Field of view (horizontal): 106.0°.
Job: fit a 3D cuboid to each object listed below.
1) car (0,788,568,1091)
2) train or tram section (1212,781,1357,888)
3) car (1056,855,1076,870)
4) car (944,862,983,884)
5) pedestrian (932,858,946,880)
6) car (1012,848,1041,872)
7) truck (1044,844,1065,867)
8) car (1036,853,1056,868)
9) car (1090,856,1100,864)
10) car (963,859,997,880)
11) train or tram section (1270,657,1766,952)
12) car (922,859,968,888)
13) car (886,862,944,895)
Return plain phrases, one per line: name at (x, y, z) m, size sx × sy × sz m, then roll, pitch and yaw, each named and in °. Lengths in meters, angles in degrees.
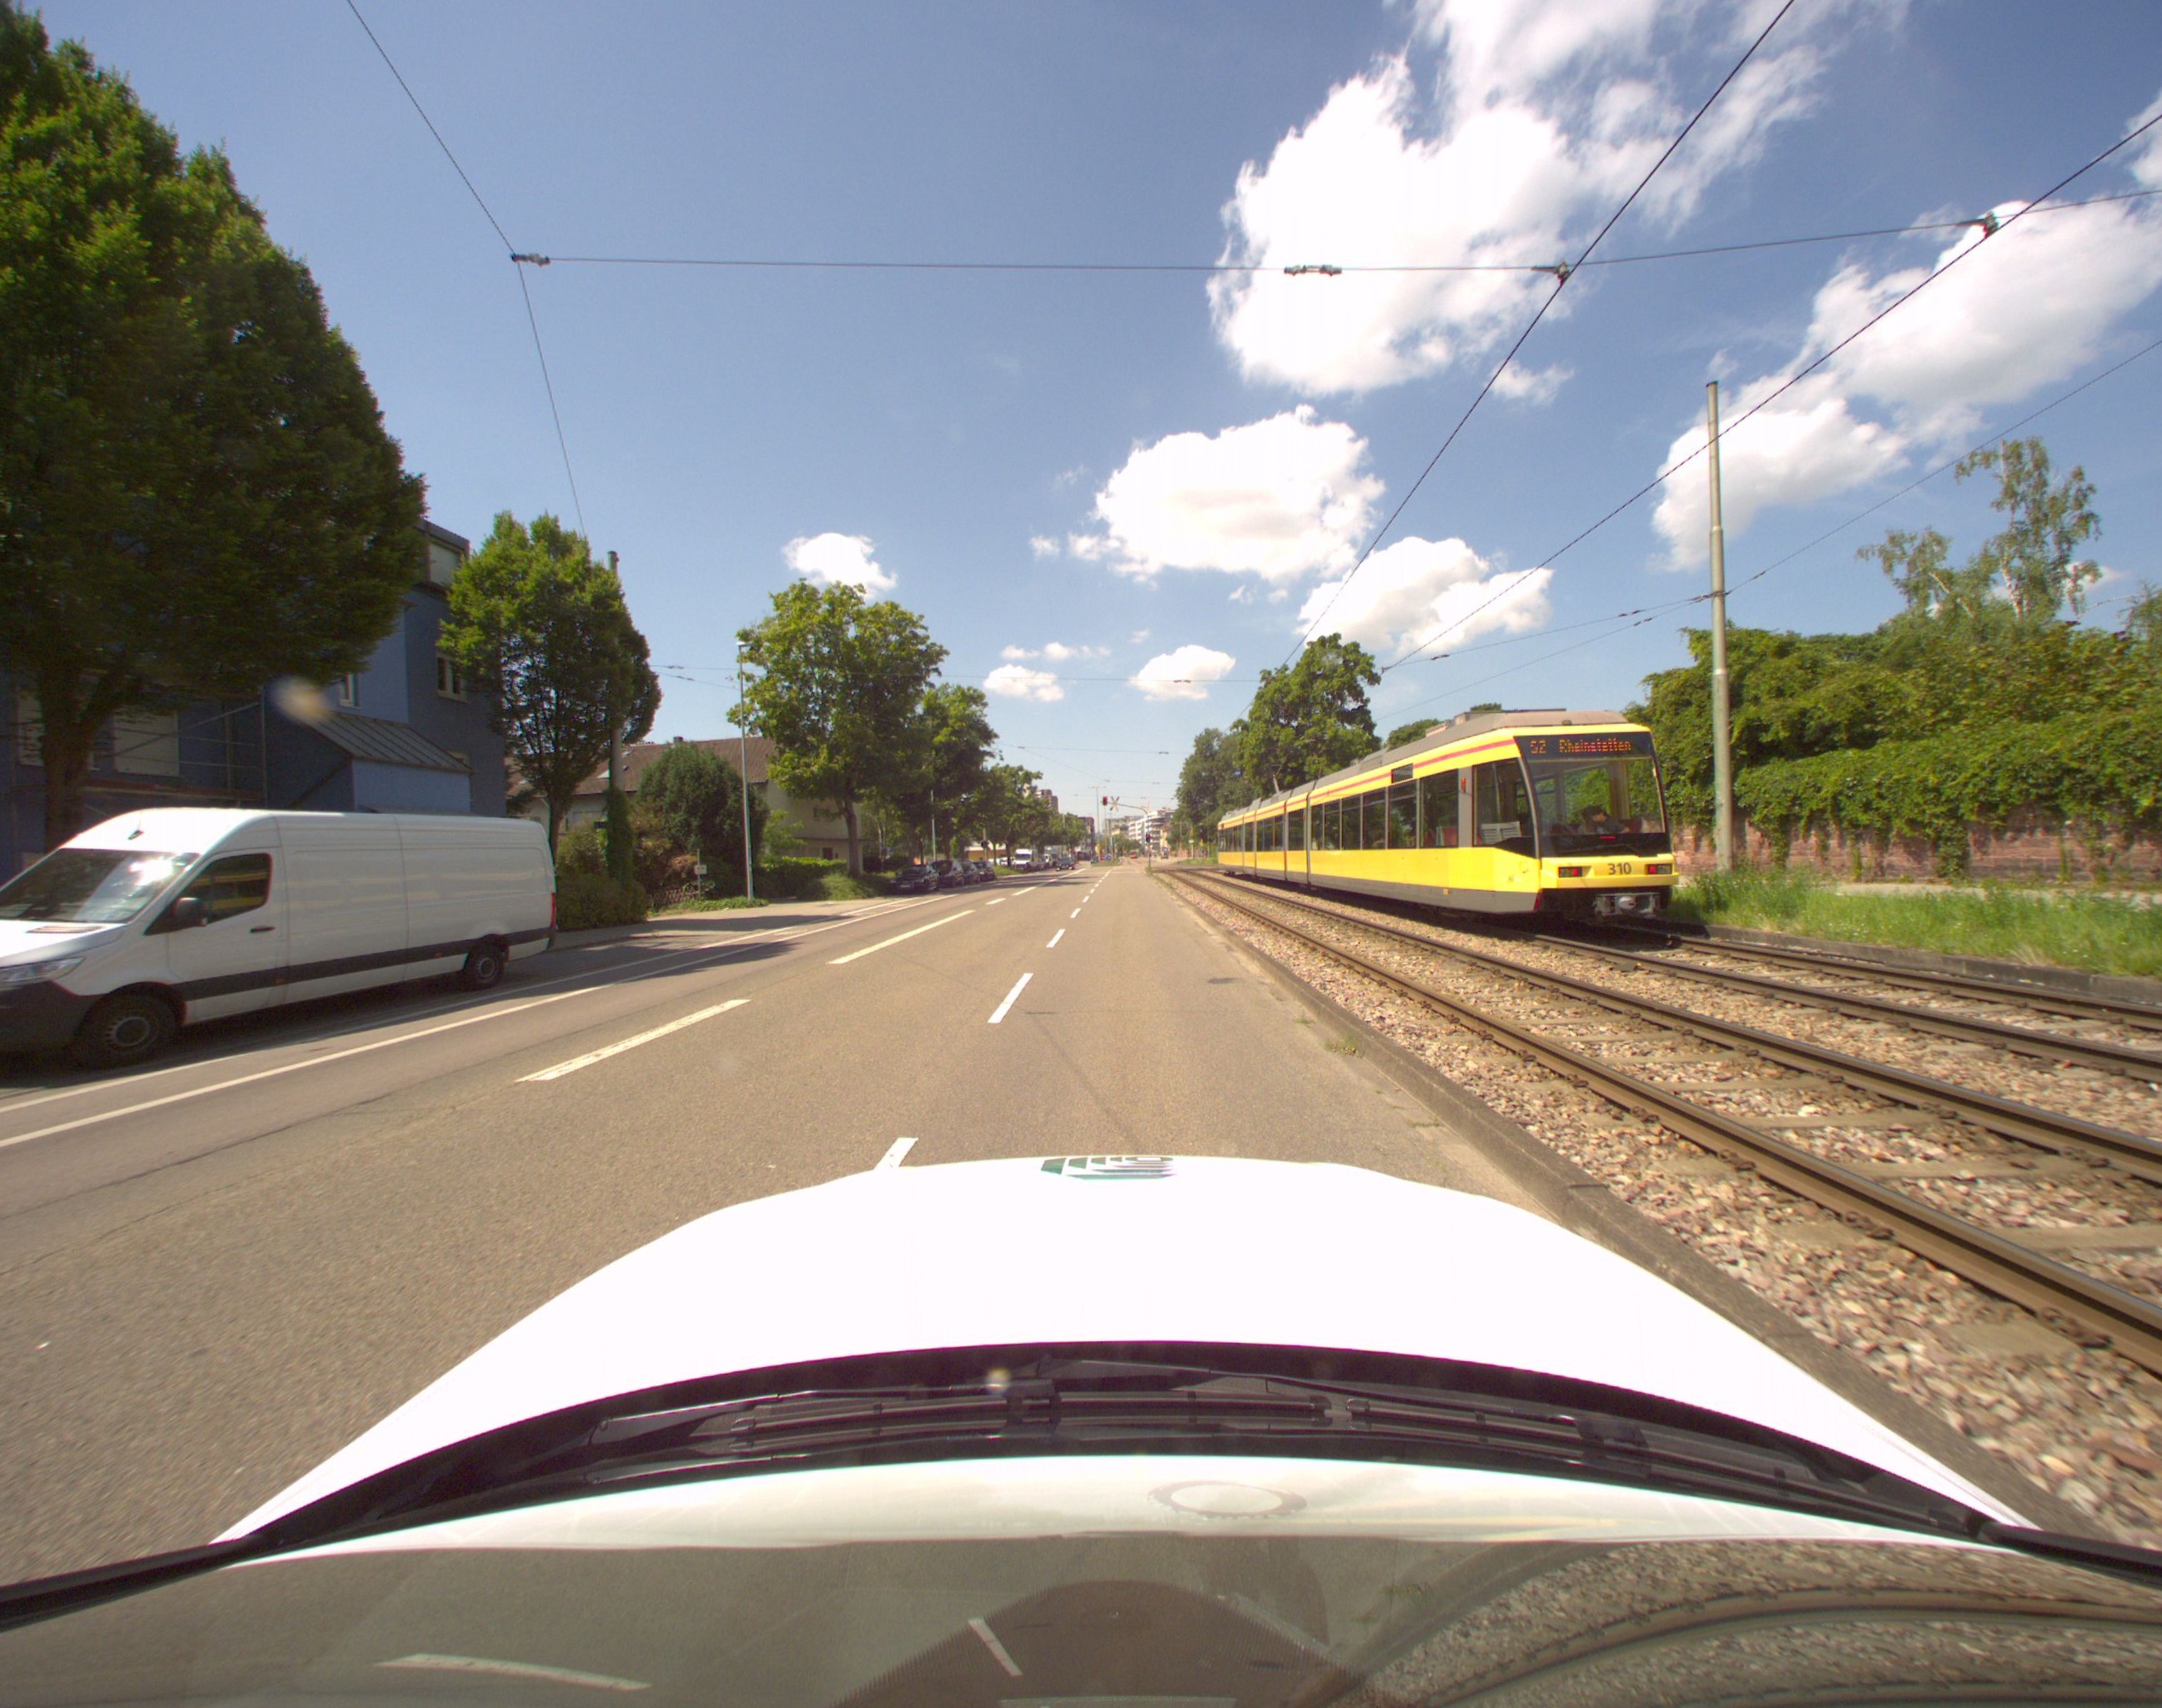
car at (-10.349, 0.703, 10.685) m, size 2.313 × 2.651 × 7.042 m, roll 2°, pitch 0°, yaw 4°
train or tram section at (8.810, -0.704, 38.864) m, size 2.931 × 3.692 × 20.302 m, roll -1°, pitch 0°, yaw 3°
car at (-1.541, 0.882, 84.585) m, size 1.768 × 1.460 × 4.197 m, roll -4°, pitch 0°, yaw 2°
car at (-7.762, 1.216, 54.165) m, size 1.768 × 1.373 × 4.699 m, roll 0°, pitch 0°, yaw 2°
pedestrian at (-11.900, 1.241, 68.220) m, size 0.971 × 1.823 × 0.794 m, roll -3°, pitch 0°, yaw 0°
car at (-5.928, 0.661, 88.986) m, size 2.146 × 2.487 × 6.203 m, roll -1°, pitch 0°, yaw 6°
truck at (-3.748, 0.249, 117.062) m, size 2.146 × 3.210 × 7.093 m, roll 1°, pitch 0°, yaw 6°
car at (-4.654, 0.829, 108.629) m, size 2.052 × 1.898 × 4.876 m, roll -3°, pitch 0°, yaw 4°
car at (2.681, 1.186, 155.911) m, size 1.671 × 1.398 × 4.007 m, roll -4°, pitch 0°, yaw 2°
car at (-7.314, 1.106, 59.229) m, size 1.767 × 1.481 × 4.051 m, roll -1°, pitch 0°, yaw 3°
train or tram section at (7.689, -0.647, 19.590) m, size 2.931 × 3.692 × 18.404 m, roll -1°, pitch 0°, yaw 3°
car at (-8.092, 1.117, 48.814) m, size 1.768 × 1.604 × 4.639 m, roll -1°, pitch 0°, yaw 2°
car at (-8.338, 1.200, 41.365) m, size 1.768 × 1.455 × 4.806 m, roll -2°, pitch 0°, yaw 2°
